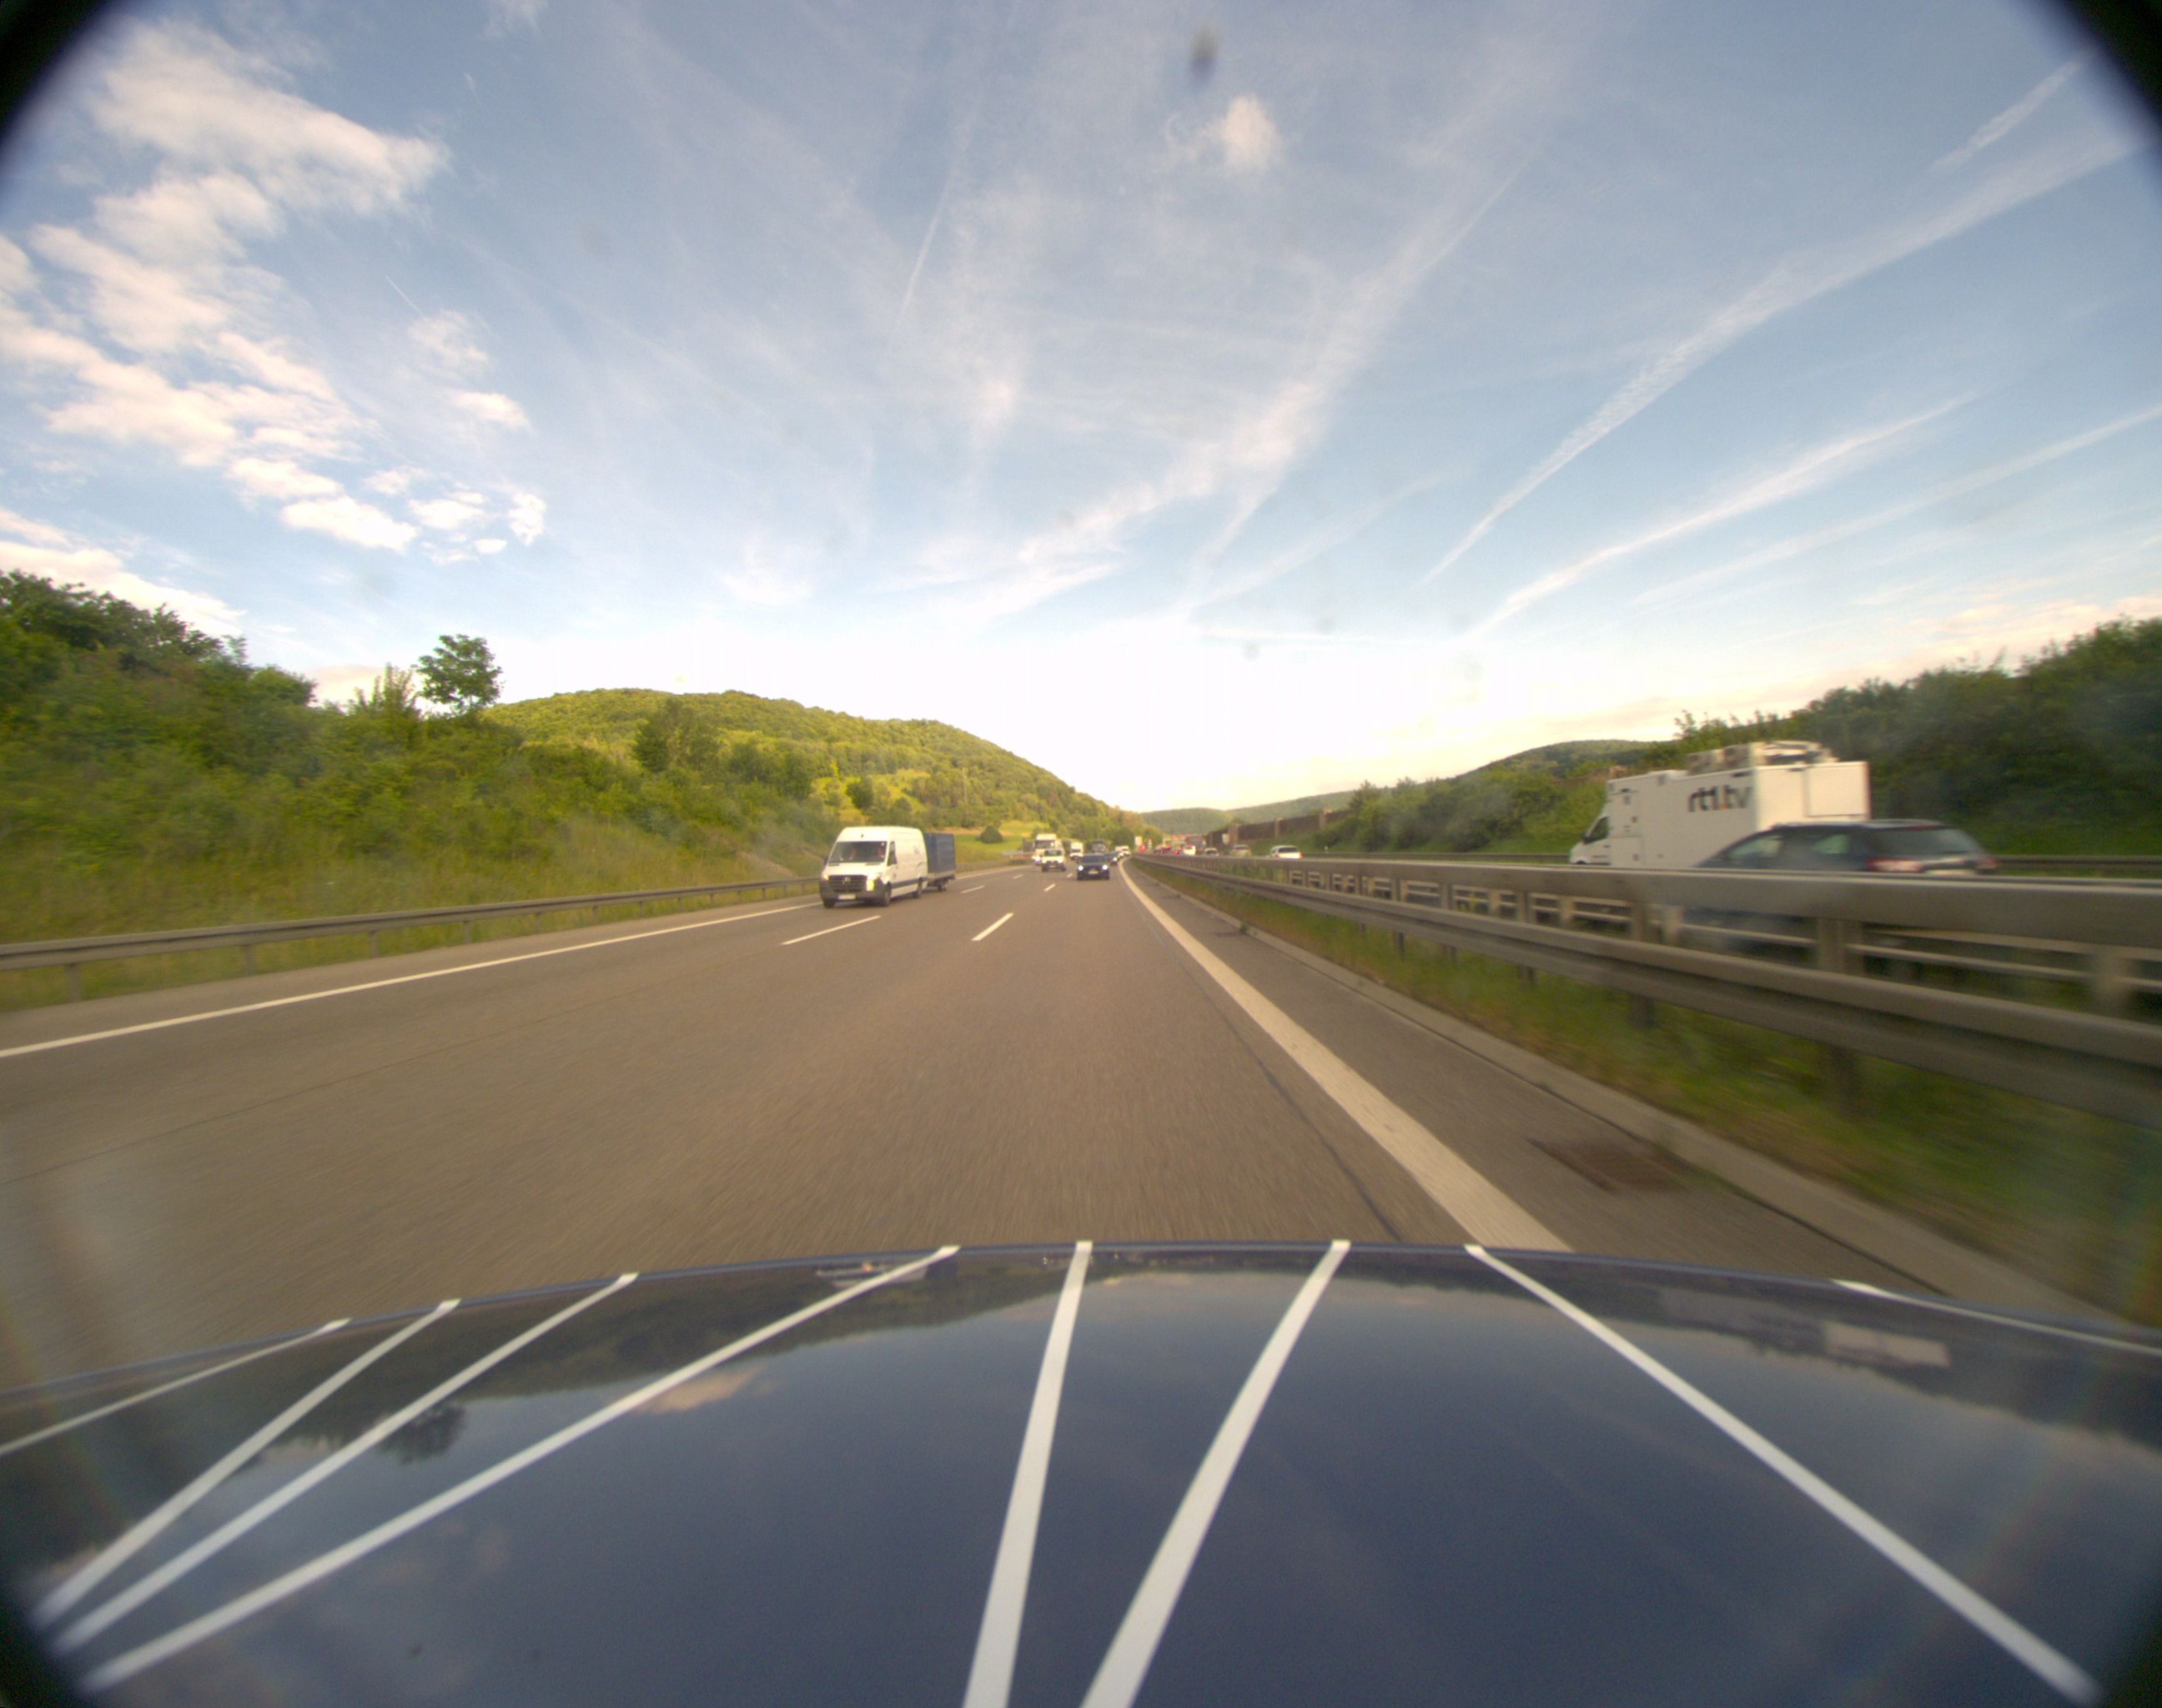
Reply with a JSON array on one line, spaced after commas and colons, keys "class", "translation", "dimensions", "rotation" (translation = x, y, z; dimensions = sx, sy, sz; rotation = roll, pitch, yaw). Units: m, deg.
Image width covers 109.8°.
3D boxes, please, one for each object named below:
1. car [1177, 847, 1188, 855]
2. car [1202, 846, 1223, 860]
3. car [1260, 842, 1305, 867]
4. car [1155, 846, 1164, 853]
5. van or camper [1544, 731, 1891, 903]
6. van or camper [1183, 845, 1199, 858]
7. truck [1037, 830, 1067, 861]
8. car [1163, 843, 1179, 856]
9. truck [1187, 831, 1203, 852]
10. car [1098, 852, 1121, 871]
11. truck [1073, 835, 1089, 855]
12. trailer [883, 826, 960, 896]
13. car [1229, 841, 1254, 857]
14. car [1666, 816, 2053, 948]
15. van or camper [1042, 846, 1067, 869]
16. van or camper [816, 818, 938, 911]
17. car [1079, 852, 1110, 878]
[{"class": "car", "translation": [18.869, -0.563, 141.502], "dimensions": [1.688, 1.388, 4.000], "rotation": [-2, 1, 2]}, {"class": "car", "translation": [14.342, -0.157, 83.051], "dimensions": [1.647, 1.427, 4.345], "rotation": [-2, 1, 2]}, {"class": "car", "translation": [12.438, 0.006, 47.198], "dimensions": [1.647, 1.427, 4.344], "rotation": [-2, 1, 1]}, {"class": "car", "translation": [16.670, -0.914, 162.079], "dimensions": [1.688, 1.450, 4.000], "rotation": [-2, 1, 2]}, {"class": "van or camper", "translation": [15.812, -0.808, 19.956], "dimensions": [2.488, 3.531, 7.977], "rotation": [-2, 1, 1]}, {"class": "van or camper", "translation": [17.048, -0.456, 117.993], "dimensions": [1.852, 1.928, 5.401], "rotation": [-2, 1, 2]}, {"class": "truck", "translation": [-3.758, -1.151, 102.560], "dimensions": [2.925, 3.876, 13.010], "rotation": [-2, 1, 3]}, {"class": "car", "translation": [13.232, -0.697, 112.032], "dimensions": [1.934, 1.881, 4.345], "rotation": [-2, 1, 2]}, {"class": "truck", "translation": [24.200, -2.620, 161.337], "dimensions": [2.655, 4.253, 14.684], "rotation": [-2, 1, 6]}, {"class": "car", "translation": [3.000, 0.789, 81.017], "dimensions": [1.999, 1.870, 3.998], "rotation": [-1, 0, -5]}, {"class": "truck", "translation": [-0.023, -1.752, 143.749], "dimensions": [2.709, 3.627, 9.030], "rotation": [-2, 1, -2]}, {"class": "trailer", "translation": [-6.674, 0.261, 32.504], "dimensions": [1.998, 2.710, 5.249], "rotation": [-2, 1, 1]}, {"class": "car", "translation": [18.089, -0.599, 85.939], "dimensions": [1.934, 1.712, 4.879], "rotation": [-2, 1, 2]}, {"class": "car", "translation": [11.685, 0.345, 11.938], "dimensions": [1.647, 1.646, 4.344], "rotation": [-2, 1, 1]}, {"class": "van or camper", "translation": [-2.221, 0.262, 64.492], "dimensions": [1.999, 1.881, 4.486], "rotation": [-2, 1, -2]}, {"class": "van or camper", "translation": [-6.777, 0.306, 26.364], "dimensions": [1.998, 2.701, 7.523], "rotation": [-2, 0, 1]}, {"class": "car", "translation": [0.810, 0.577, 42.714], "dimensions": [1.580, 1.310, 4.000], "rotation": [-2, 1, 3]}]
